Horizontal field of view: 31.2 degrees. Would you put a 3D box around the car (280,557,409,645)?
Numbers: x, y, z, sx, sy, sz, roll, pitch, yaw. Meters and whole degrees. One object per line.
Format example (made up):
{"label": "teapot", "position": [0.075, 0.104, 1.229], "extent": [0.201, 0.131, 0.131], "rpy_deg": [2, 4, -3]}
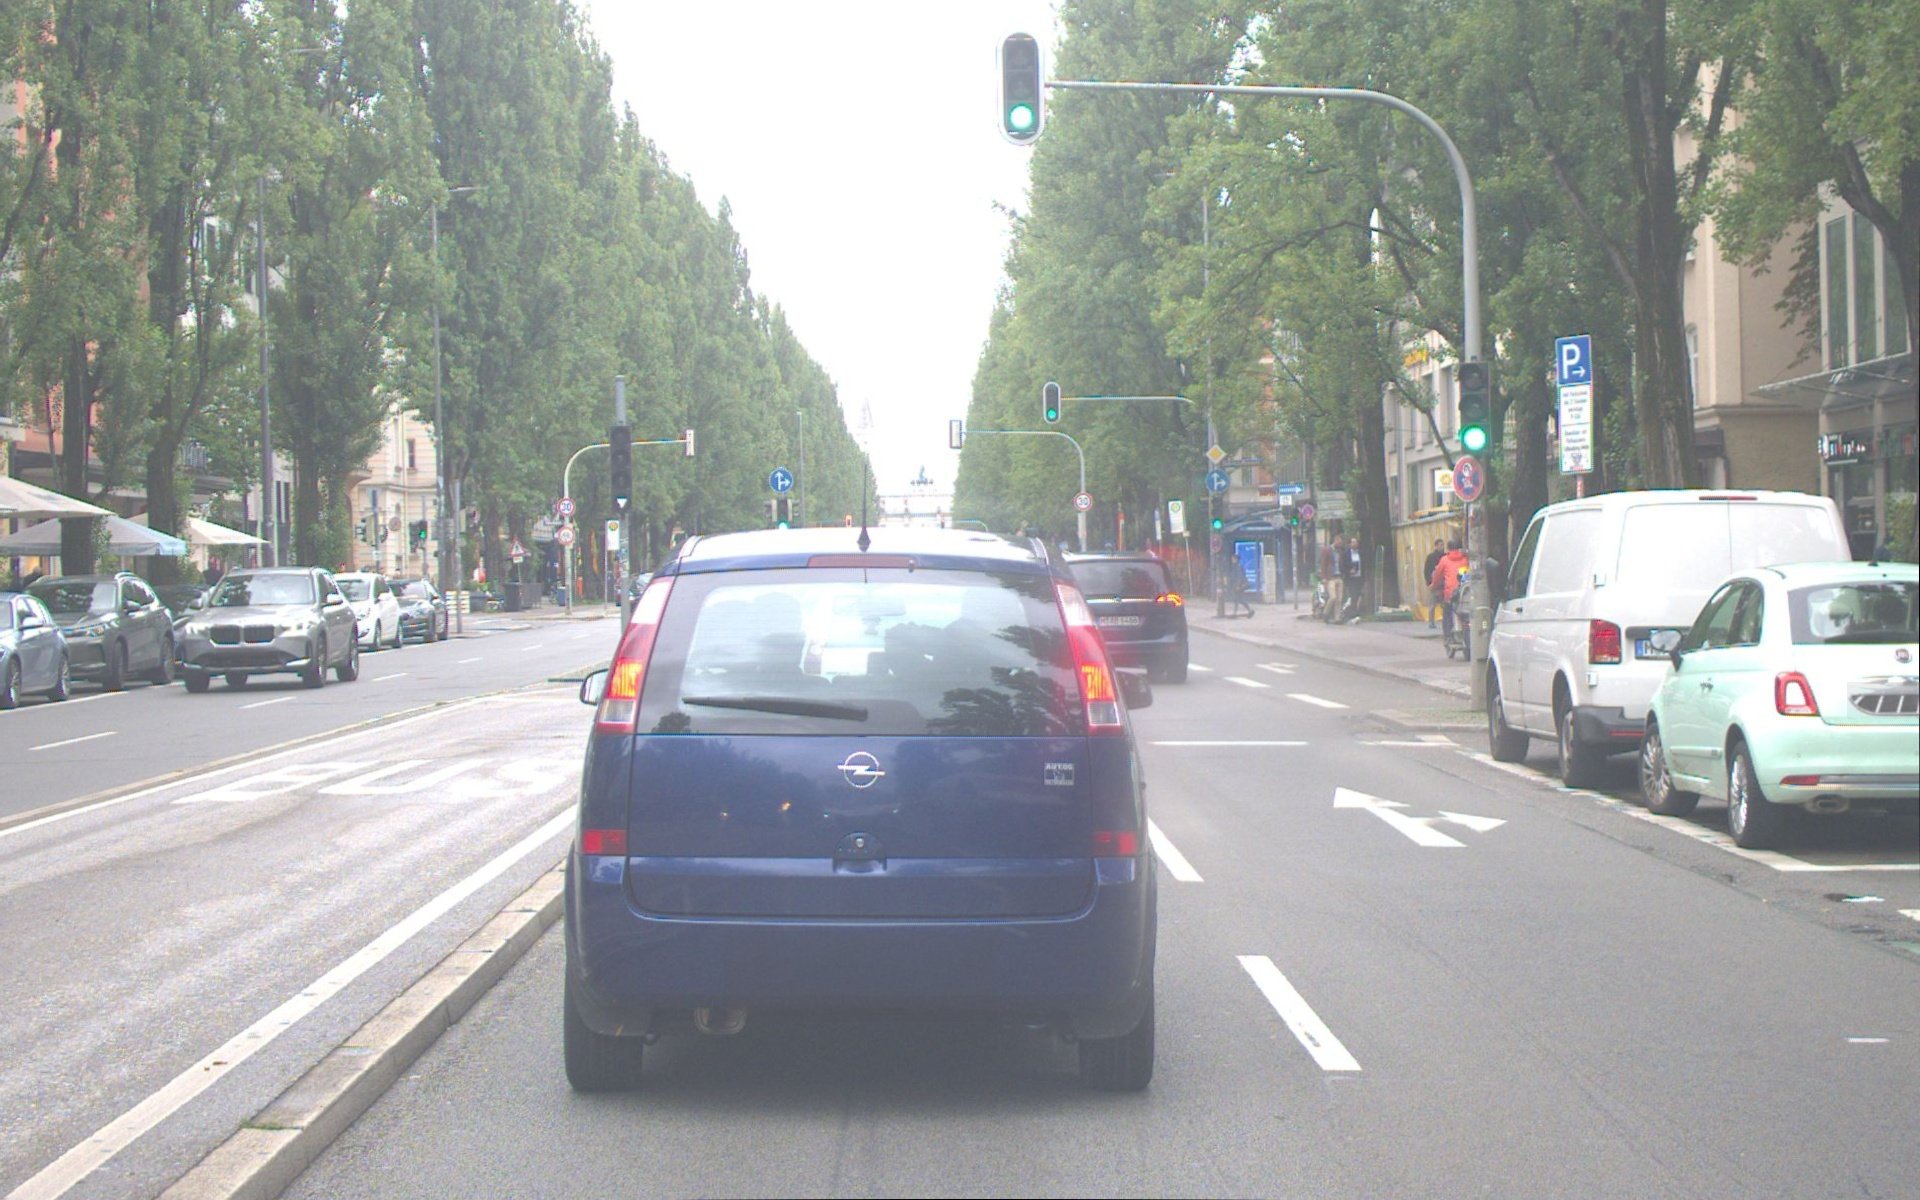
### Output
{"label": "car", "position": [-12.593, -0.012, 70.529], "extent": [1.866, 1.660, 4.120], "rpy_deg": [-3, 1, -1]}

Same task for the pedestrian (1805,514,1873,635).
{"label": "pedestrian", "position": [12.422, -0.354, 48.595], "extent": [0.673, 1.680, 0.759], "rpy_deg": [-2, 0, -5]}

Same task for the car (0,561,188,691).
{"label": "car", "position": [-12.278, 0.325, 48.285], "extent": [1.866, 1.660, 4.401], "rpy_deg": [-3, 1, -1]}

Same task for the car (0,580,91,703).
{"label": "car", "position": [-12.243, 0.512, 42.868], "extent": [1.733, 1.421, 4.143], "rpy_deg": [-3, 1, -1]}

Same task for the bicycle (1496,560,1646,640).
{"label": "bicycle", "position": [9.621, -0.005, 54.159], "extent": [2.227, 1.200, 0.626], "rpy_deg": [-1, 1, -2]}

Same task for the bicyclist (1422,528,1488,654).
{"label": "bicyclist", "position": [7.034, -0.126, 48.842], "extent": [0.767, 1.760, 0.885], "rpy_deg": [-1, 1, -1]}

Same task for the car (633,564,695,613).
{"label": "car", "position": [-10.496, -0.414, 122.279], "extent": [1.866, 1.660, 4.120], "rpy_deg": [-1, 1, -1]}

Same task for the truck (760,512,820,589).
{"label": "truck", "position": [-7.586, -2.216, 153.930], "extent": [2.383, 3.335, 7.111], "rpy_deg": [-1, 1, -1]}

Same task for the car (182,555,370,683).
{"label": "car", "position": [-9.365, 0.220, 47.380], "extent": [1.770, 1.629, 4.456], "rpy_deg": [-2, 1, -1]}

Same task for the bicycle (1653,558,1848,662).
{"label": "bicycle", "position": [9.700, 0.118, 42.235], "extent": [2.227, 1.200, 0.626], "rpy_deg": [-1, 1, -2]}

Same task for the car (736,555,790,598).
{"label": "car", "position": [-6.954, -0.843, 121.567], "extent": [1.735, 1.460, 3.365], "rpy_deg": [-1, 1, -1]}

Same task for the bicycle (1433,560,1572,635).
{"label": "bicycle", "position": [9.214, -0.047, 58.450], "extent": [2.227, 1.200, 0.626], "rpy_deg": [-1, 1, -2]}

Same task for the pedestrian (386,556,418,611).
{"label": "pedestrian", "position": [-18.061, -0.527, 111.239], "extent": [0.767, 1.760, 0.885], "rpy_deg": [-1, 1, -25]}

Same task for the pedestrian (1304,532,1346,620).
{"label": "pedestrian", "position": [7.645, -0.509, 72.082], "extent": [0.636, 1.820, 0.888], "rpy_deg": [1, 0, -10]}

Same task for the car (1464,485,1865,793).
{"label": "car", "position": [4.810, 0.209, 24.149], "extent": [1.787, 1.939, 4.731], "rpy_deg": [0, 1, -1]}

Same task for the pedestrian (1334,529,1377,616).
{"label": "pedestrian", "position": [8.335, -0.574, 72.440], "extent": [0.636, 1.820, 0.888], "rpy_deg": [1, 0, -10]}

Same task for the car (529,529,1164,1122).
{"label": "car", "position": [-0.311, 0.566, 11.070], "extent": [1.671, 1.563, 4.000], "rpy_deg": [0, 1, 0]}

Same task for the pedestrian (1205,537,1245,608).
{"label": "pedestrian", "position": [6.664, -0.703, 86.445], "extent": [0.882, 1.760, 0.770], "rpy_deg": [-1, 1, -3]}

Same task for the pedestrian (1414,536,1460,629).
{"label": "pedestrian", "position": [9.358, -0.343, 67.448], "extent": [0.636, 1.820, 0.888], "rpy_deg": [1, 0, -10]}

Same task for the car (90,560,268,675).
{"label": "car", "position": [-12.389, 0.243, 54.747], "extent": [1.866, 1.660, 4.120], "rpy_deg": [-3, 1, -1]}

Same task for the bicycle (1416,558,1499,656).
{"label": "bicycle", "position": [7.039, 0.080, 48.748], "extent": [0.772, 1.344, 2.449], "rpy_deg": [-1, 1, -1]}

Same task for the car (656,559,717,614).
{"label": "car", "position": [-10.370, -0.523, 130.538], "extent": [1.993, 2.007, 4.000], "rpy_deg": [-1, 1, -1]}

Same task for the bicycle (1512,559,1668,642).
{"label": "bicycle", "position": [9.627, 0.004, 52.552], "extent": [2.227, 1.200, 0.626], "rpy_deg": [-1, 1, -2]}

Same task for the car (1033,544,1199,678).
{"label": "car", "position": [1.932, 0.098, 43.574], "extent": [1.896, 1.616, 4.000], "rpy_deg": [0, 1, 0]}

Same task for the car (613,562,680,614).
{"label": "car", "position": [-10.453, -0.419, 114.859], "extent": [1.866, 1.660, 4.120], "rpy_deg": [-1, 1, -1]}

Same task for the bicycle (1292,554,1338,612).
{"label": "bicycle", "position": [8.328, -0.408, 80.787], "extent": [0.772, 1.344, 2.449], "rpy_deg": [-1, 1, -1]}

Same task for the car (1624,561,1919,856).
{"label": "car", "position": [4.802, 0.527, 19.130], "extent": [1.541, 1.487, 3.523], "rpy_deg": [0, 1, 0]}

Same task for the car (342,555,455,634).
{"label": "car", "position": [-12.677, -0.150, 77.804], "extent": [1.866, 1.660, 4.120], "rpy_deg": [-3, 1, -1]}
